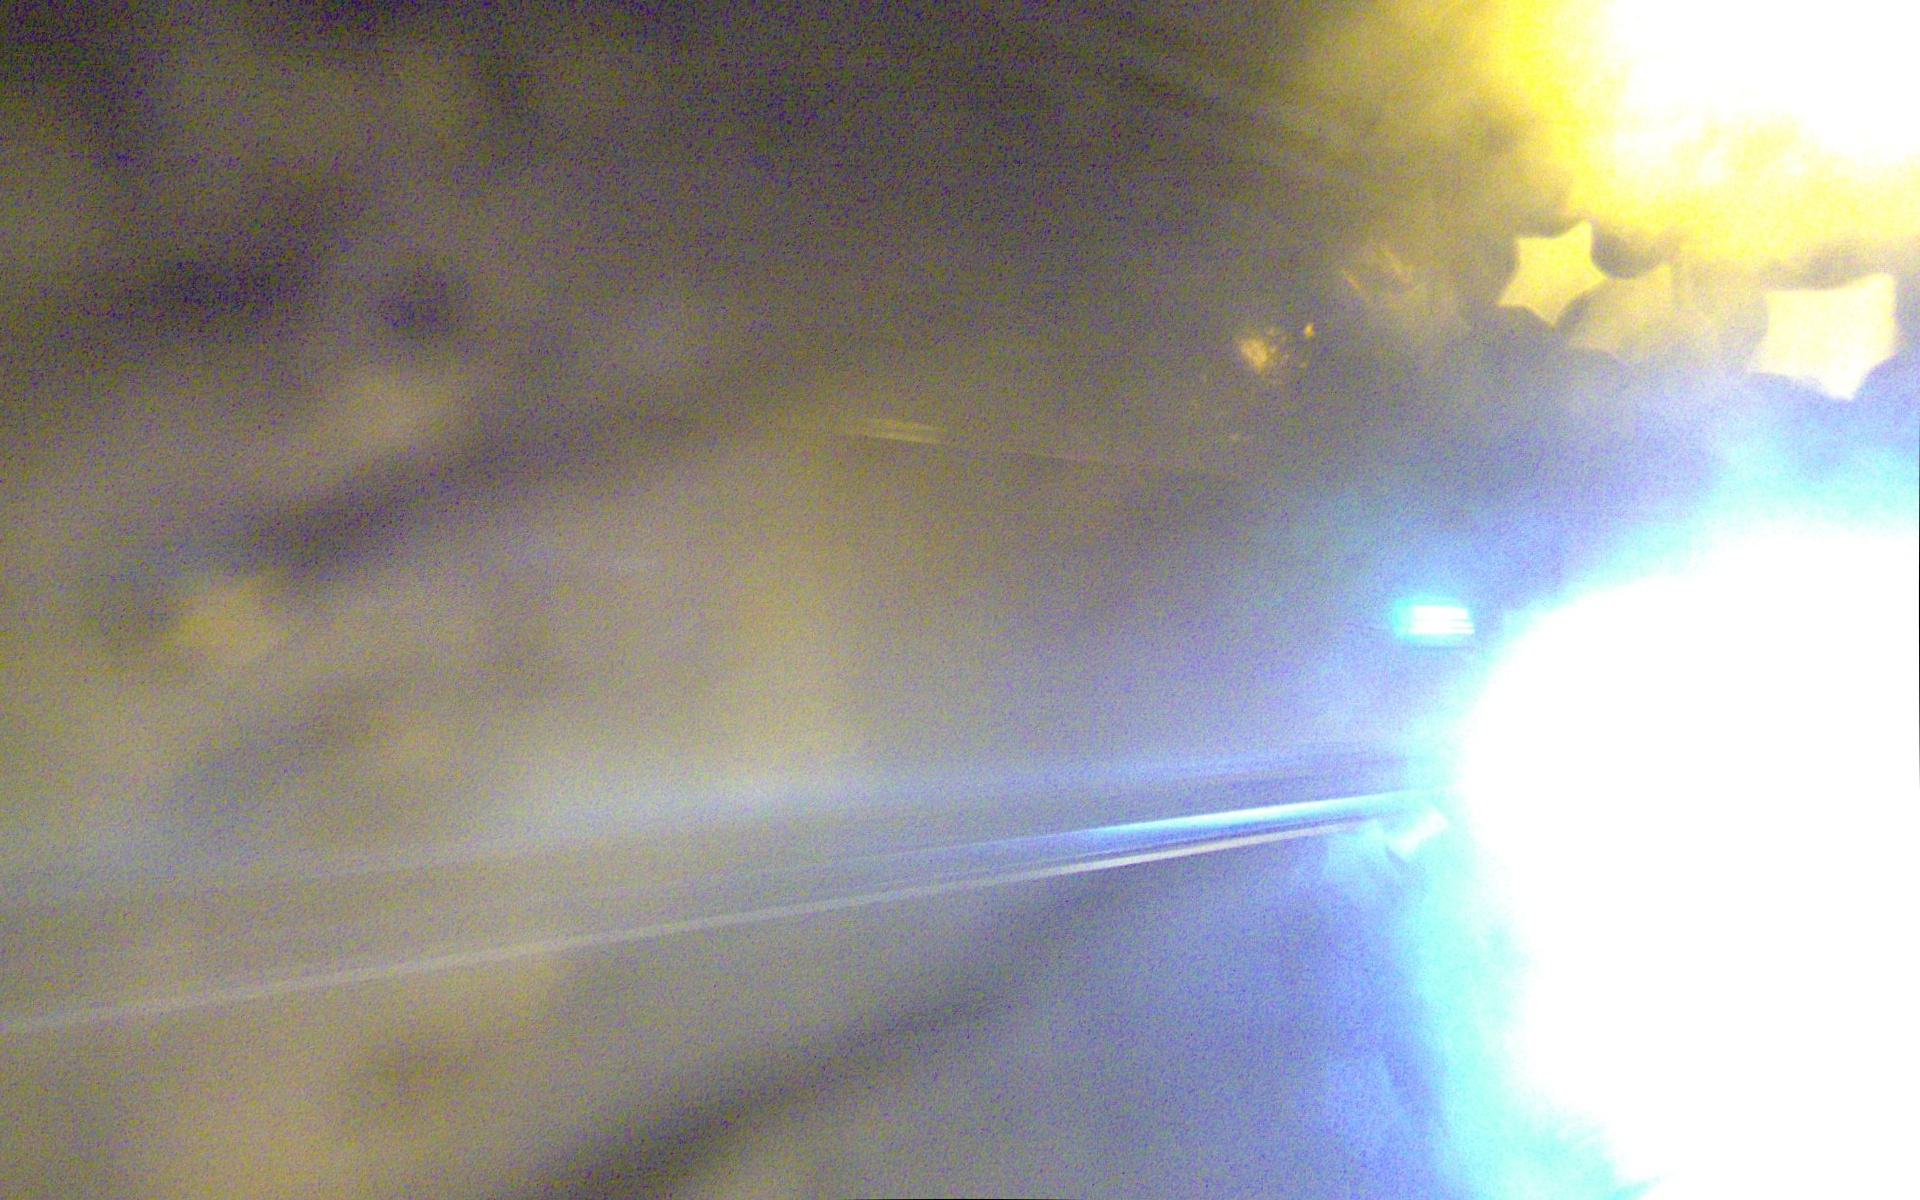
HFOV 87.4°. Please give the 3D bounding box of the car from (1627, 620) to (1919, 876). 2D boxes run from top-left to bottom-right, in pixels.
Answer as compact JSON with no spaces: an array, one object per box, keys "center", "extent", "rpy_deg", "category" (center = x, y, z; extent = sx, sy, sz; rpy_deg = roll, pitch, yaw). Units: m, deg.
[{"center":[6.922,0.916,7.515],"extent":[3.791,1.460,1.726],"rpy_deg":[1,0,-30],"category":"car"}]
